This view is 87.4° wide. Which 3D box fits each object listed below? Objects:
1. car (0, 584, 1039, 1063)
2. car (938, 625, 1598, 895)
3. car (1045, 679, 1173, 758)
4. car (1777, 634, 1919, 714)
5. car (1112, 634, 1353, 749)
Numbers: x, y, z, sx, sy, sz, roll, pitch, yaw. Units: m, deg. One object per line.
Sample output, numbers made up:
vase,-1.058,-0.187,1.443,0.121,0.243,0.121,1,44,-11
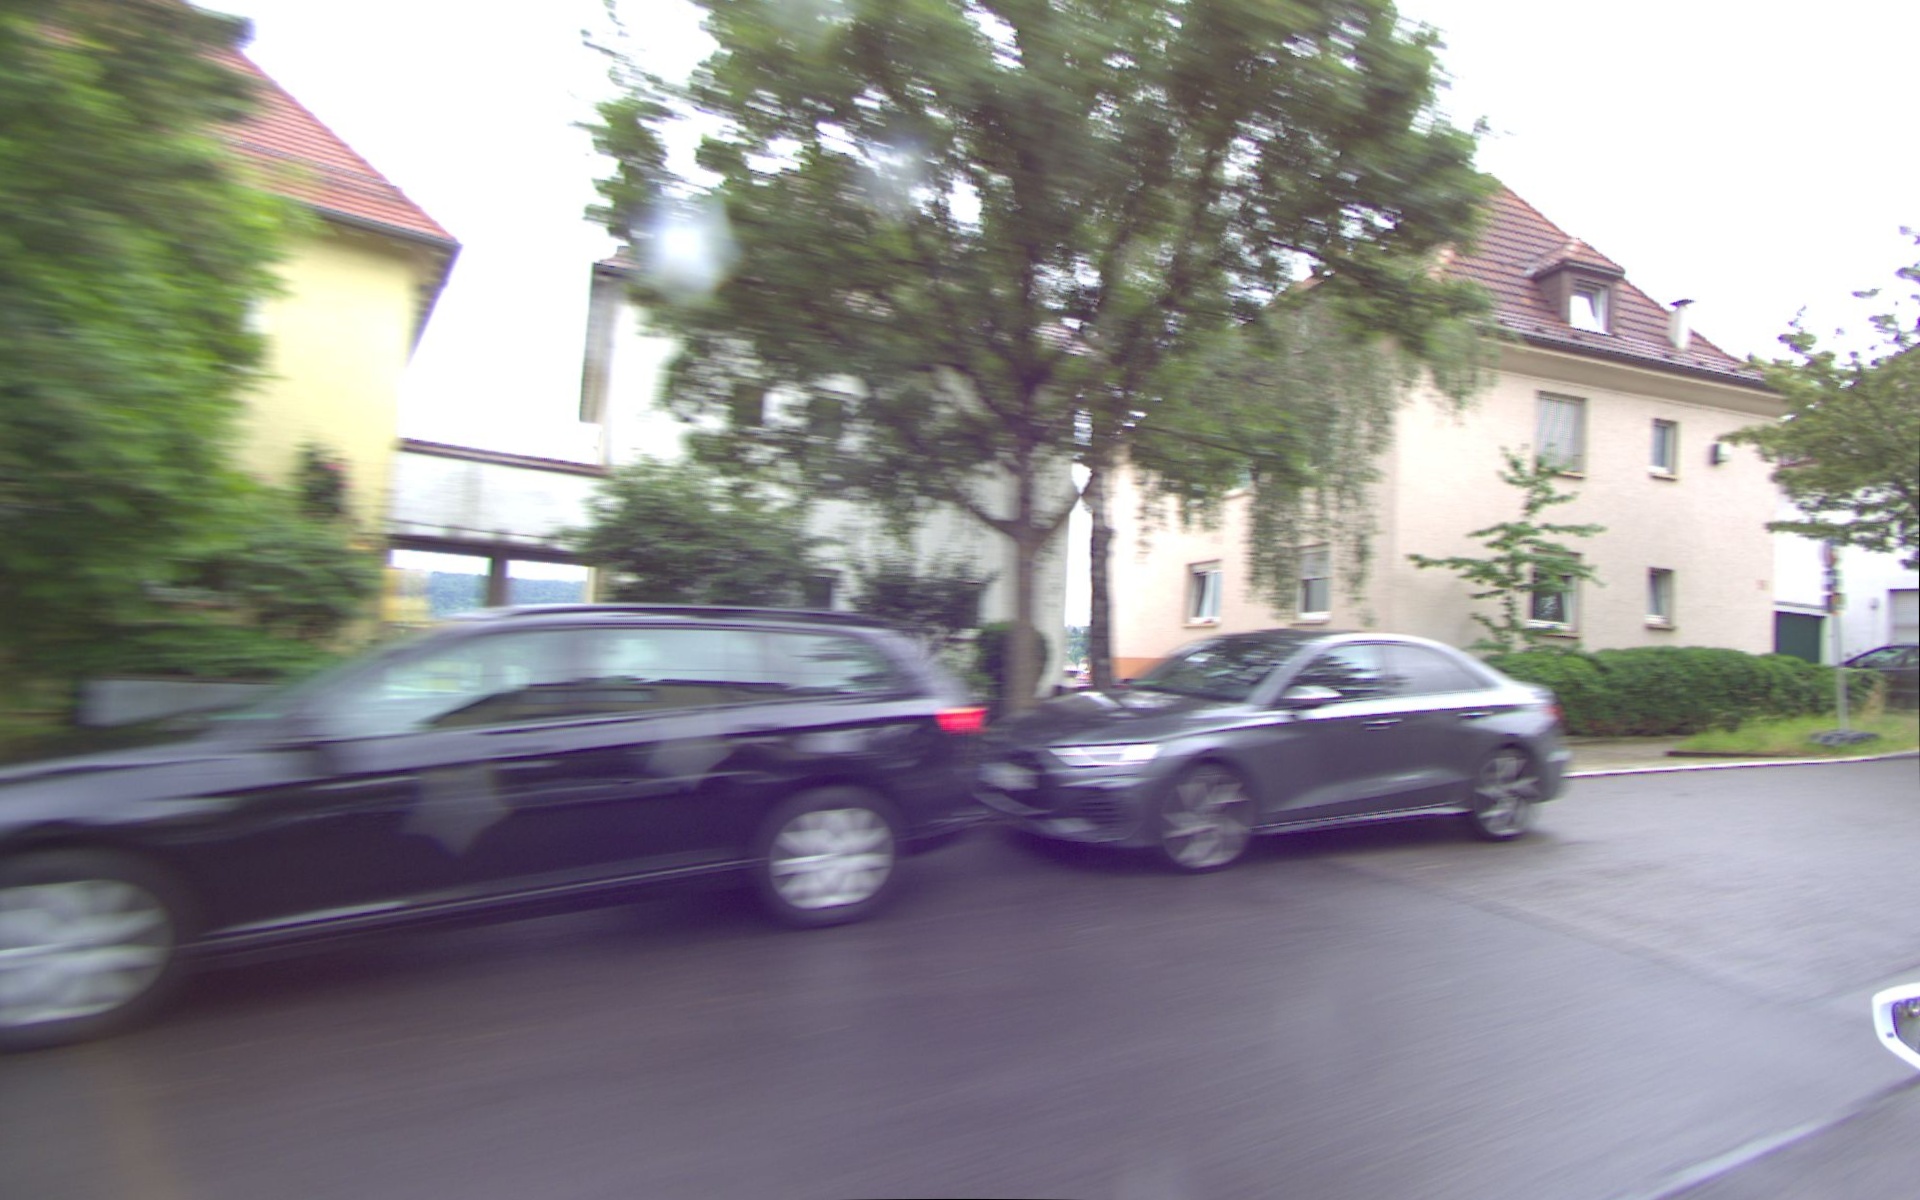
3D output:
car,-1.957,0.743,4.779,4.477,1.503,1.724,2,-1,-30
car,2.232,0.919,7.070,4.469,1.401,1.701,1,-1,-25
car,3.875,3.124,26.923,1.882,1.902,4.243,0,-5,-15
car,21.068,1.643,22.523,1.832,1.564,3.940,1,1,-15
car,4.210,1.594,16.371,1.882,1.522,4.246,1,-9,-14
